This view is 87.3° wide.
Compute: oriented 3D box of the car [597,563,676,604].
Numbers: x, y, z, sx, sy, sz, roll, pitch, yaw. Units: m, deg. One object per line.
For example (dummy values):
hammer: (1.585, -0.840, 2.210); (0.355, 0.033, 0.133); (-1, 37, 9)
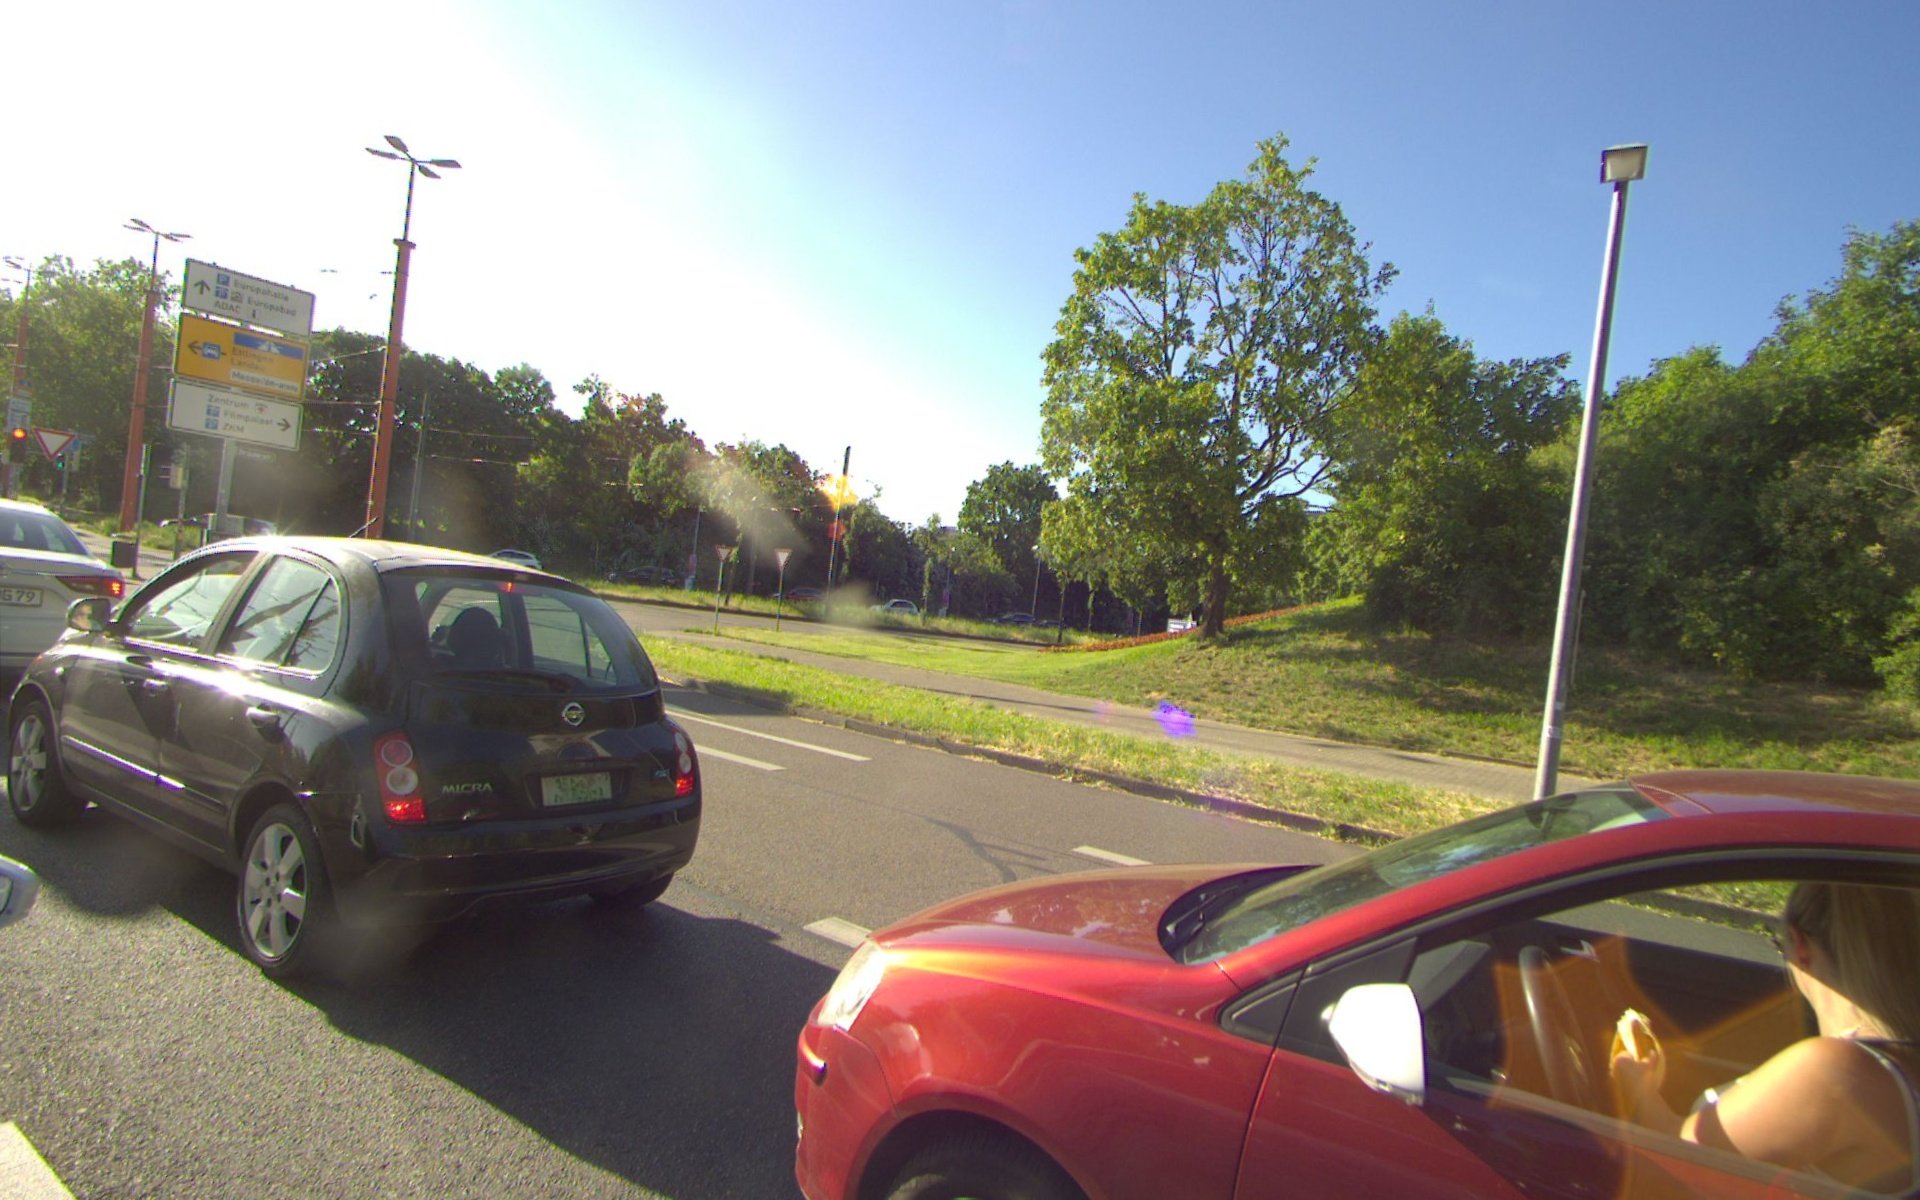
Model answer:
car: (-19.961, -1.005, 62.152); (4.169, 1.906, 1.750); (8, -1, -35)

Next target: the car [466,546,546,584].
car: (-27.499, -2.106, 60.939); (4.195, 1.701, 1.690); (8, -1, -29)

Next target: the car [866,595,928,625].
car: (-4.434, 0.714, 70.958); (3.970, 1.546, 1.694); (8, -1, -30)

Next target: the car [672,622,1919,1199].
car: (1.413, 1.016, 1.860); (3.700, 1.455, 1.644); (6, -2, 33)

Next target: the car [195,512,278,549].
car: (-38.857, -3.717, 54.085); (3.414, 1.384, 1.280); (9, -2, -32)

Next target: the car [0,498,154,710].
car: (-8.349, -0.171, 8.015); (4.130, 1.454, 1.723); (7, -2, 33)

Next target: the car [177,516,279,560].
car: (-37.108, -3.121, 51.135); (4.000, 1.615, 1.981); (8, -1, -35)

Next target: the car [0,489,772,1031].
car: (-2.850, 0.463, 4.716); (3.555, 1.518, 1.657); (7, -2, 32)

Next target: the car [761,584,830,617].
car: (-11.525, 0.012, 70.611); (4.257, 1.725, 1.833); (8, -1, -29)
